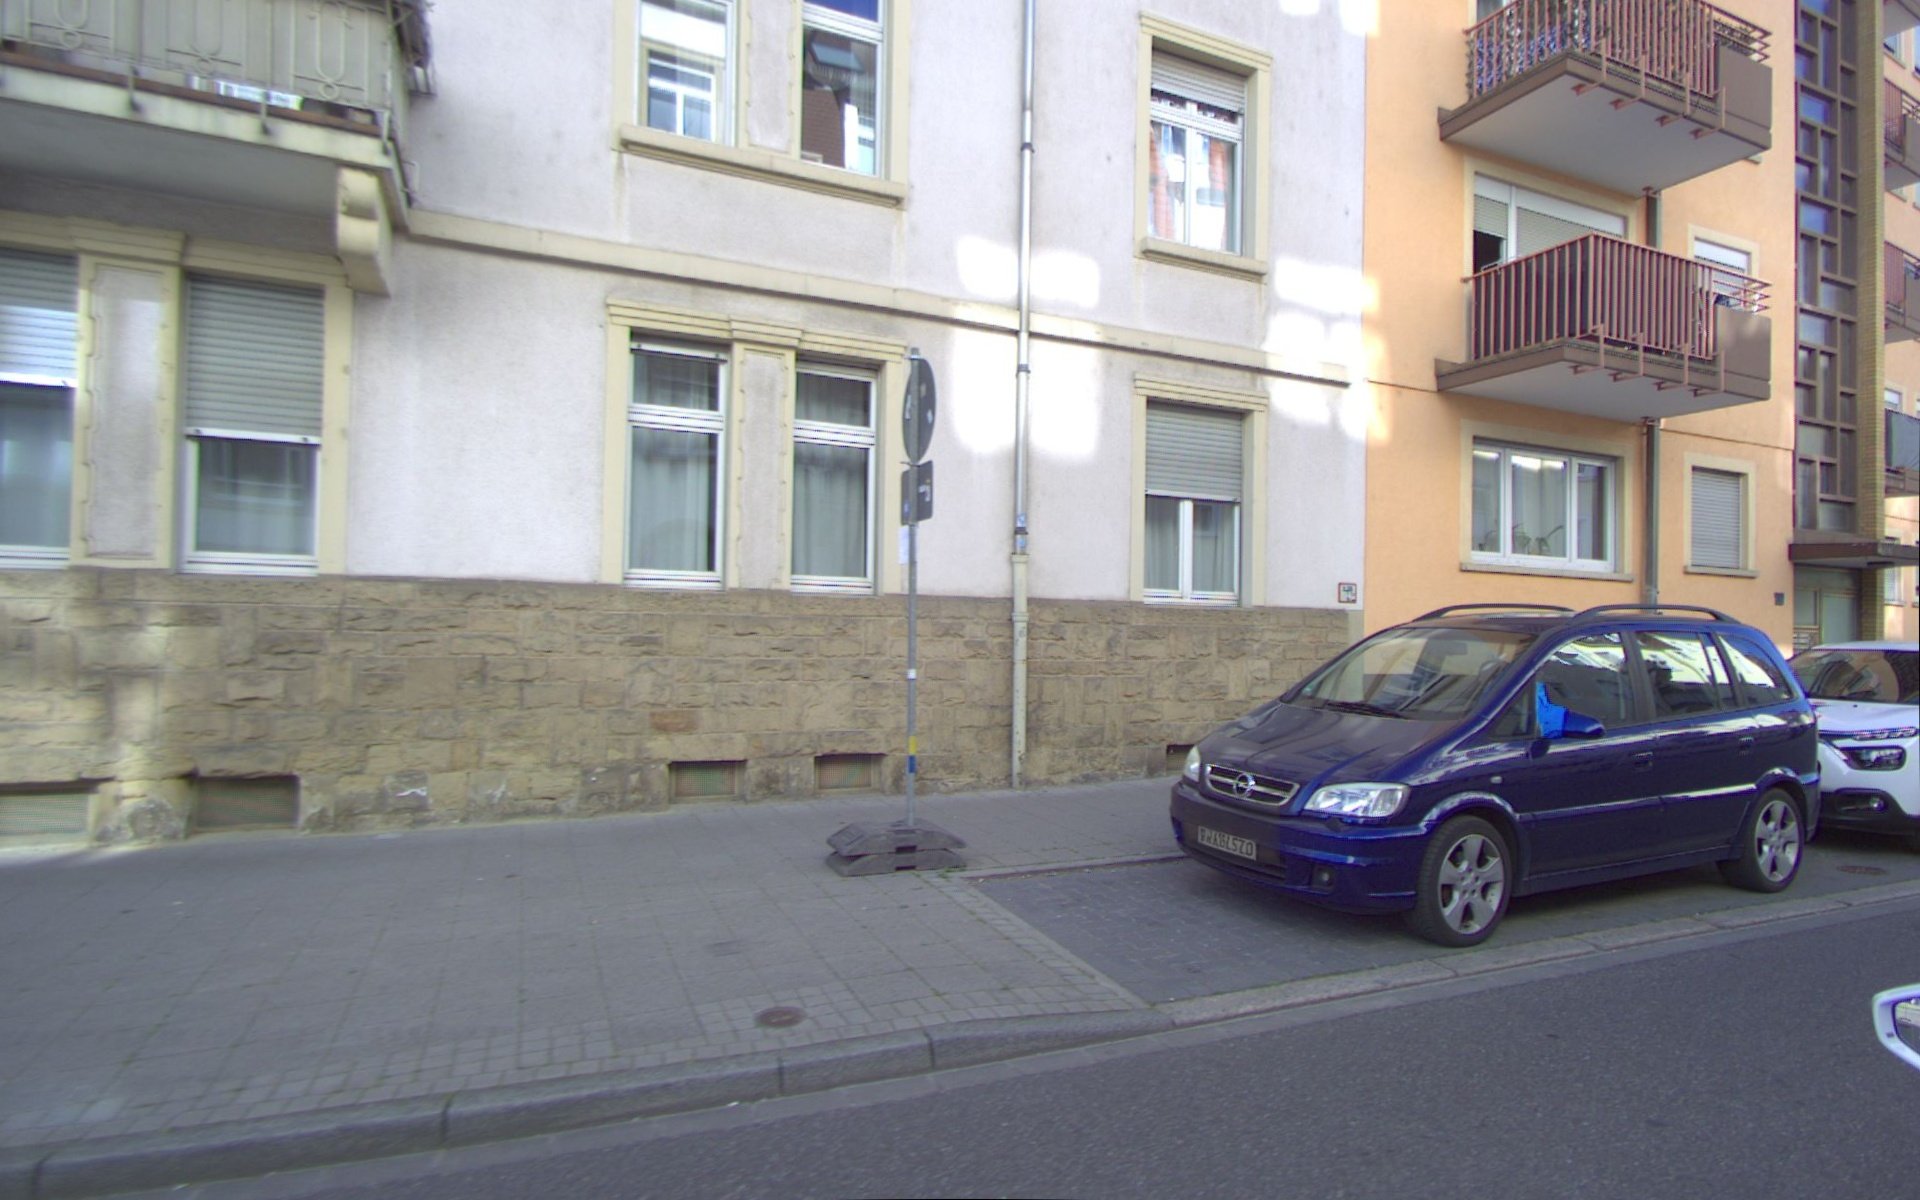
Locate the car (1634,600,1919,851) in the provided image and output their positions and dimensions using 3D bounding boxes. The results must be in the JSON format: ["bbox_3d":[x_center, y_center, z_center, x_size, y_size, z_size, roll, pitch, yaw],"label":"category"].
[{"bbox_3d":[7.808,0.899,8.294,4.236,1.642,1.758,2,-1,-25],"label":"car"}]

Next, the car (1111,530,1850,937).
[{"bbox_3d":[3.208,0.659,6.129,4.235,1.794,1.758,2,-1,-25],"label":"car"}]
